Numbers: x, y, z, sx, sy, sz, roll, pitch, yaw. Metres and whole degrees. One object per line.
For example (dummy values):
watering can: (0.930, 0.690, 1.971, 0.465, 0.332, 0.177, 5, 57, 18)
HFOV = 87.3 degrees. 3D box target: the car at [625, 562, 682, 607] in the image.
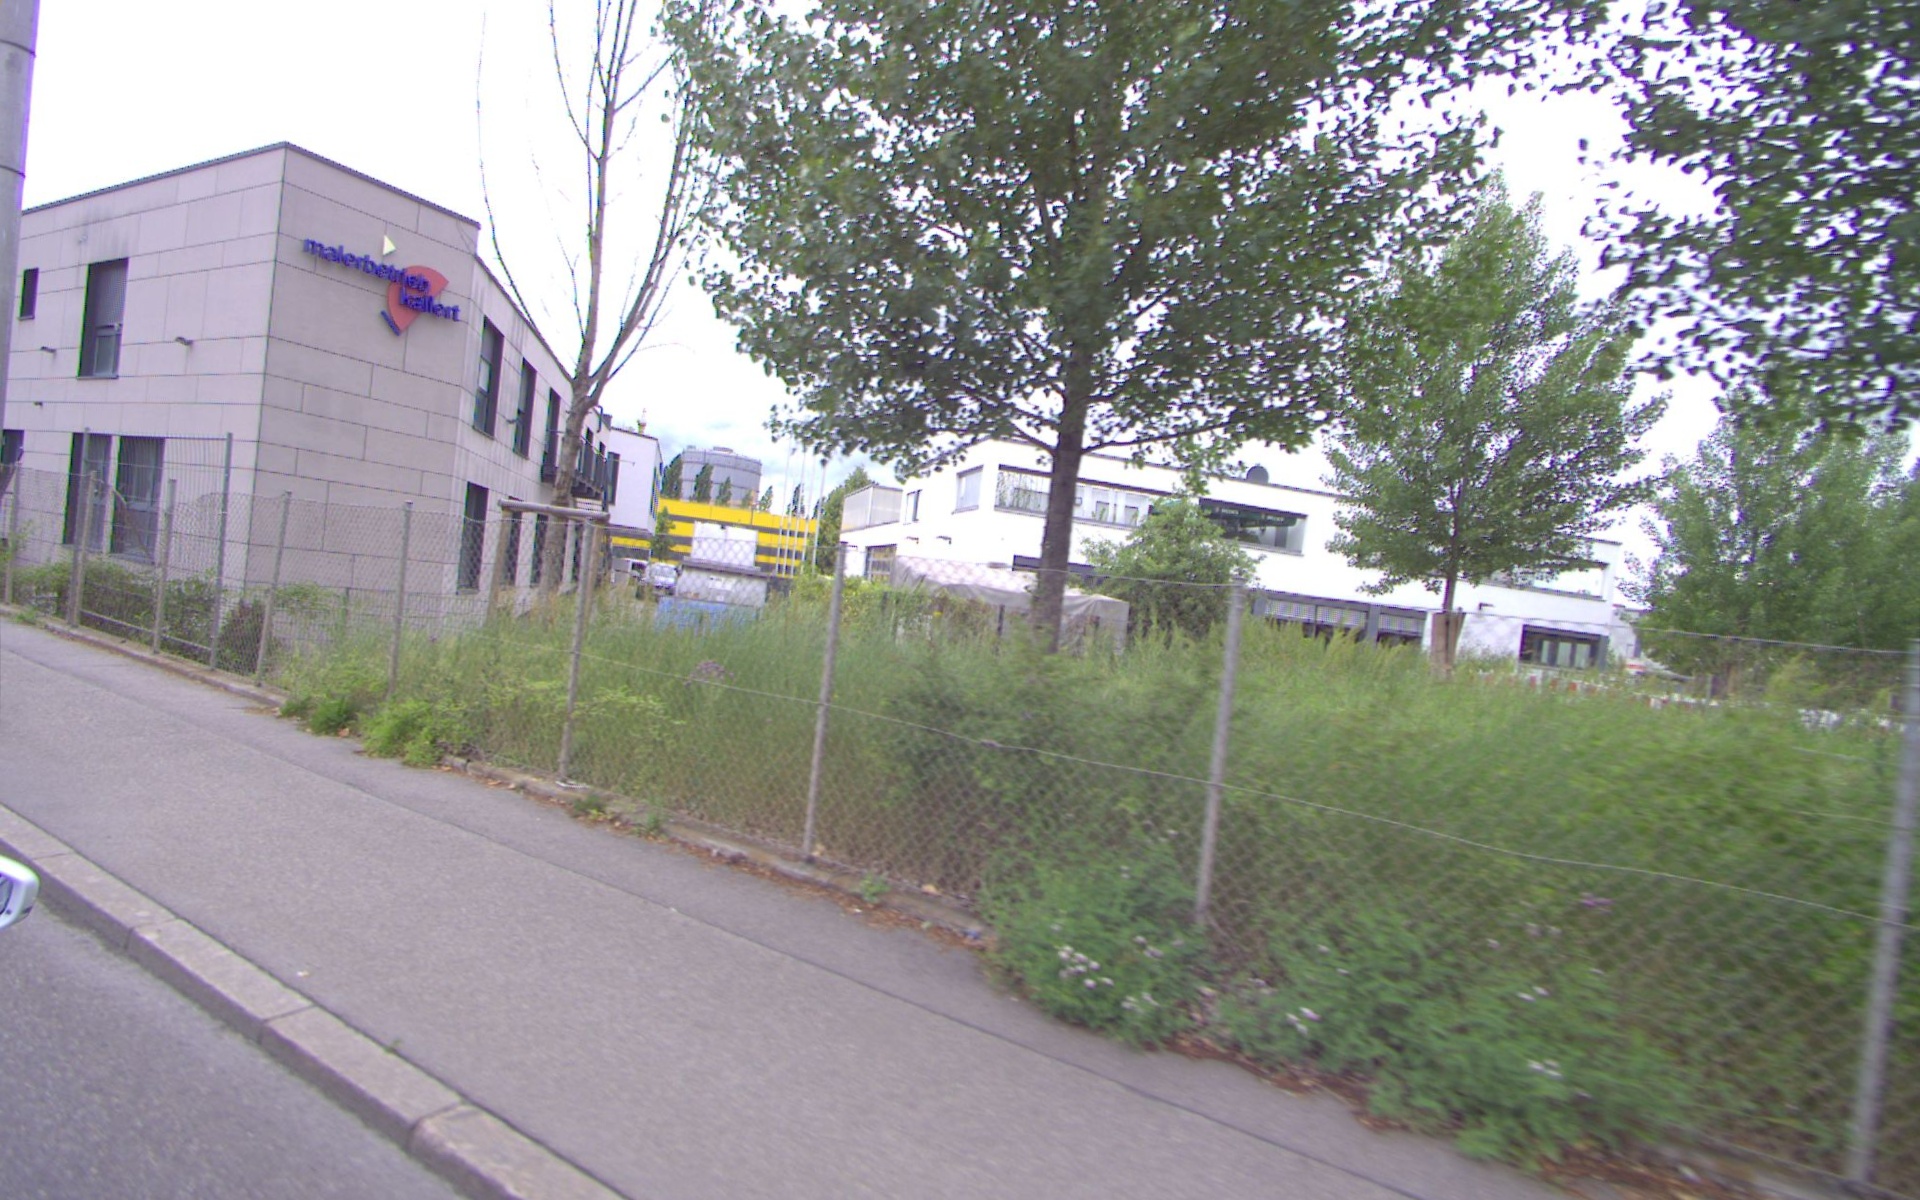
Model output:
car: (-12.584, -0.591, 41.490, 1.848, 1.593, 3.994, 4, -2, -12)
